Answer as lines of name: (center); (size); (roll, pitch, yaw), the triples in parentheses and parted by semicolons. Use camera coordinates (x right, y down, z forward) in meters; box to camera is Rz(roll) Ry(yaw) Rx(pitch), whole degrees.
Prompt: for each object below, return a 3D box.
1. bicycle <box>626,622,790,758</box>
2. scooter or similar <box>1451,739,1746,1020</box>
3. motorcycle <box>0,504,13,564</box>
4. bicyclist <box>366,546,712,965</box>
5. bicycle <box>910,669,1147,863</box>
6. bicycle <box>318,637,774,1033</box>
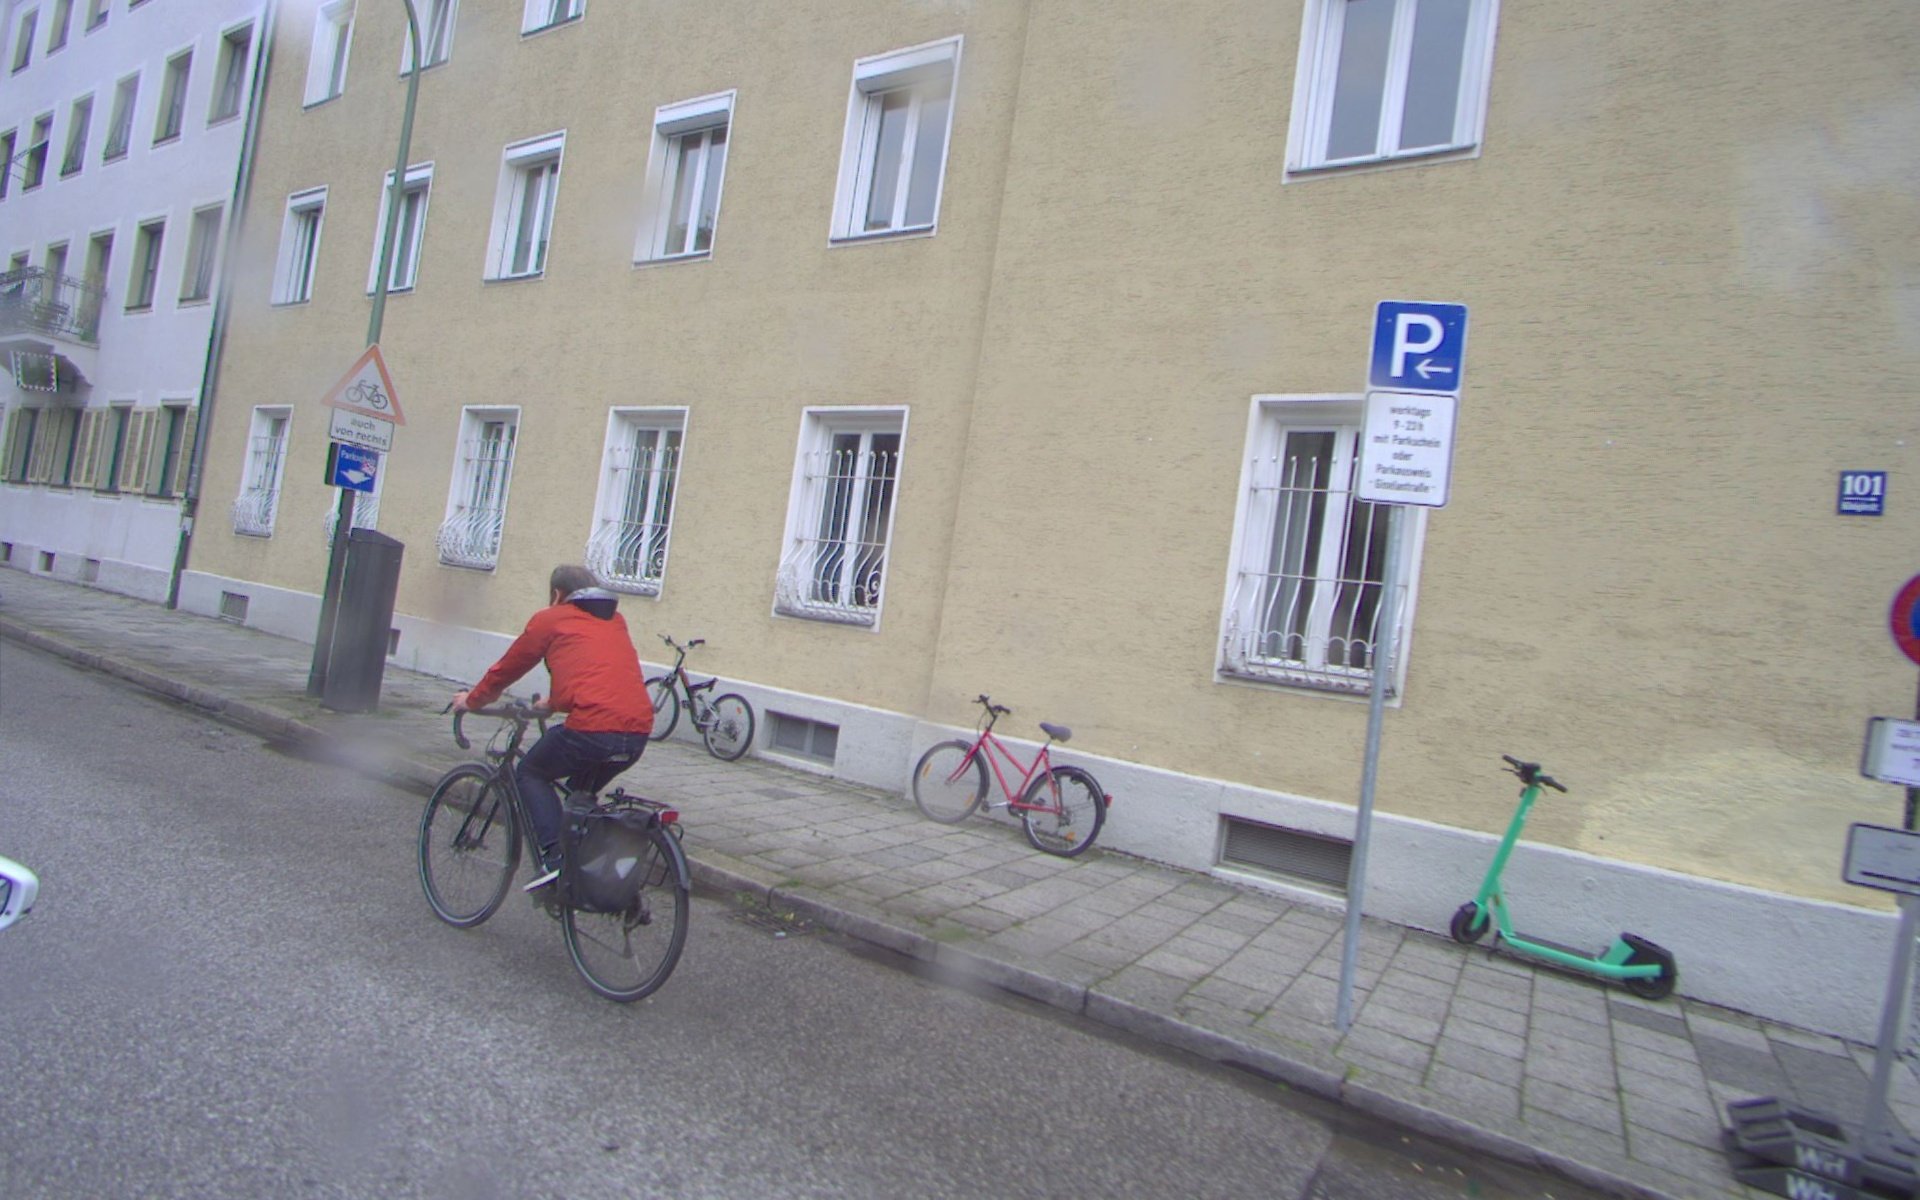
bicycle: (-2.547, 0.870, 10.058); (1.783, 1.095, 0.342); (7, 1, 31)
scooter or similar: (3.638, 1.551, 5.821); (1.287, 1.271, 0.342); (7, 0, 31)
motorcycle: (-21.204, -1.526, 21.520); (1.974, 1.252, 0.734); (7, -4, 31)
bicyclist: (-1.790, 0.608, 4.309); (0.966, 1.498, 0.756); (7, -3, 34)
bicycle: (0.495, 1.234, 7.789); (1.730, 1.148, 0.342); (7, -1, 31)
bicycle: (-1.829, 0.875, 4.311); (1.979, 1.153, 0.674); (6, -4, 34)
